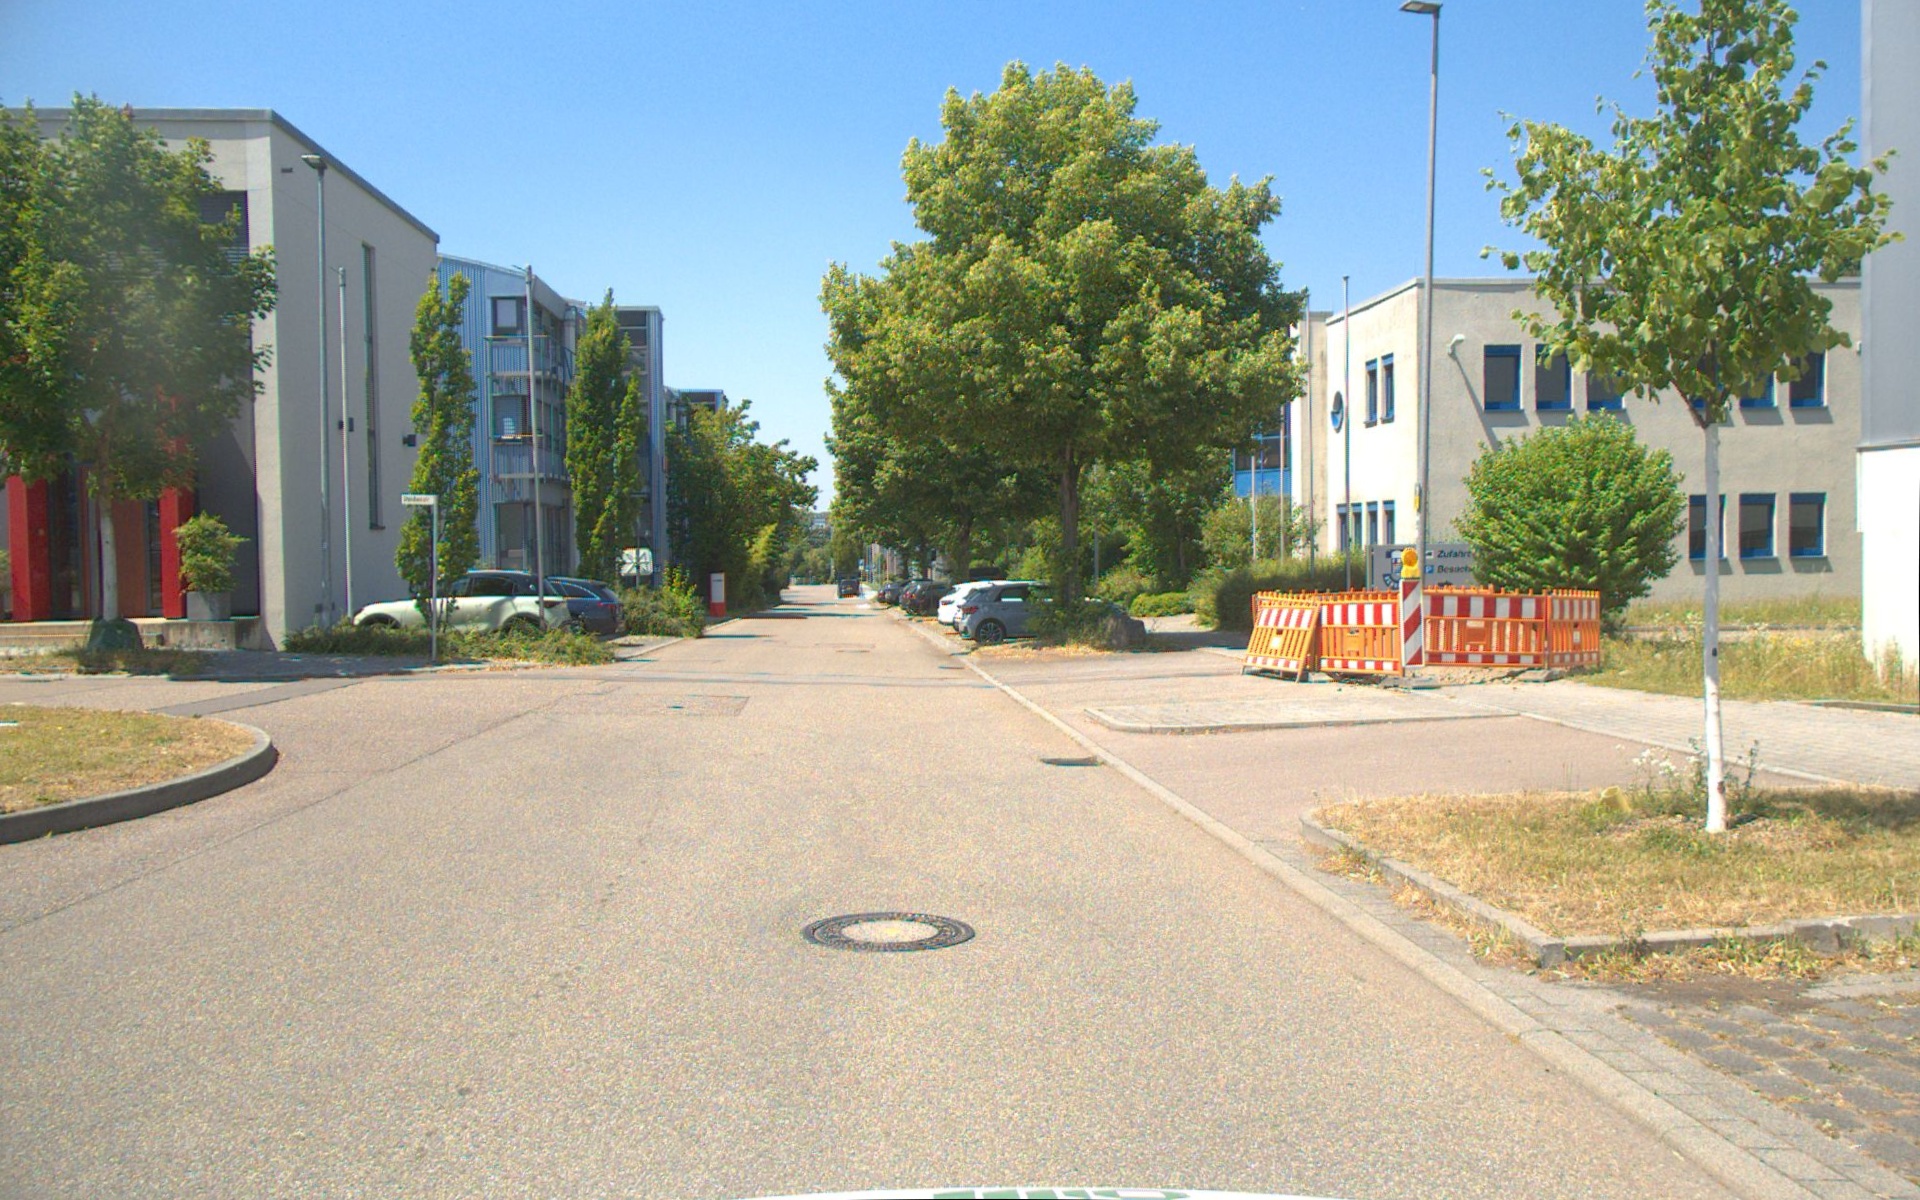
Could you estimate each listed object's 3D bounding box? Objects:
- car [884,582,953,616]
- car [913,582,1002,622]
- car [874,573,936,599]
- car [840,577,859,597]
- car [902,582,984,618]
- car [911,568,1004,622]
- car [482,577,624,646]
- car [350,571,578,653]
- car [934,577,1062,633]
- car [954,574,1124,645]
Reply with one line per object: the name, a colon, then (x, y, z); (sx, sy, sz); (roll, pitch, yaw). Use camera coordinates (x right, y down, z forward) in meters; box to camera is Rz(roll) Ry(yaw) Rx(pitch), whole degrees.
car: (-2.460, -0.081, 97.520); (3.862, 1.866, 1.762); (0, 4, -12)
car: (-0.135, 0.067, 70.108); (3.649, 1.655, 1.812); (0, 0, -5)
car: (-3.678, -0.948, 109.539); (3.862, 1.604, 1.762); (0, 4, -12)
car: (-9.898, -1.148, 148.219); (1.726, 1.786, 3.942); (0, 0, -3)
car: (-0.790, -0.001, 75.382); (3.649, 1.655, 1.812); (0, 0, -5)
car: (-0.137, -0.204, 66.945); (3.649, 2.147, 1.812); (0, 0, -5)
car: (-9.044, 0.258, 36.925); (3.003, 1.504, 1.289); (0, 0, -11)
car: (-9.531, 0.217, 32.021); (3.969, 1.521, 1.726); (0, 0, -7)
car: (1.080, 0.137, 47.789); (3.452, 1.378, 1.535); (-3, 1, -9)
car: (1.787, 0.206, 38.101); (3.611, 1.378, 1.642); (-3, 1, -9)
